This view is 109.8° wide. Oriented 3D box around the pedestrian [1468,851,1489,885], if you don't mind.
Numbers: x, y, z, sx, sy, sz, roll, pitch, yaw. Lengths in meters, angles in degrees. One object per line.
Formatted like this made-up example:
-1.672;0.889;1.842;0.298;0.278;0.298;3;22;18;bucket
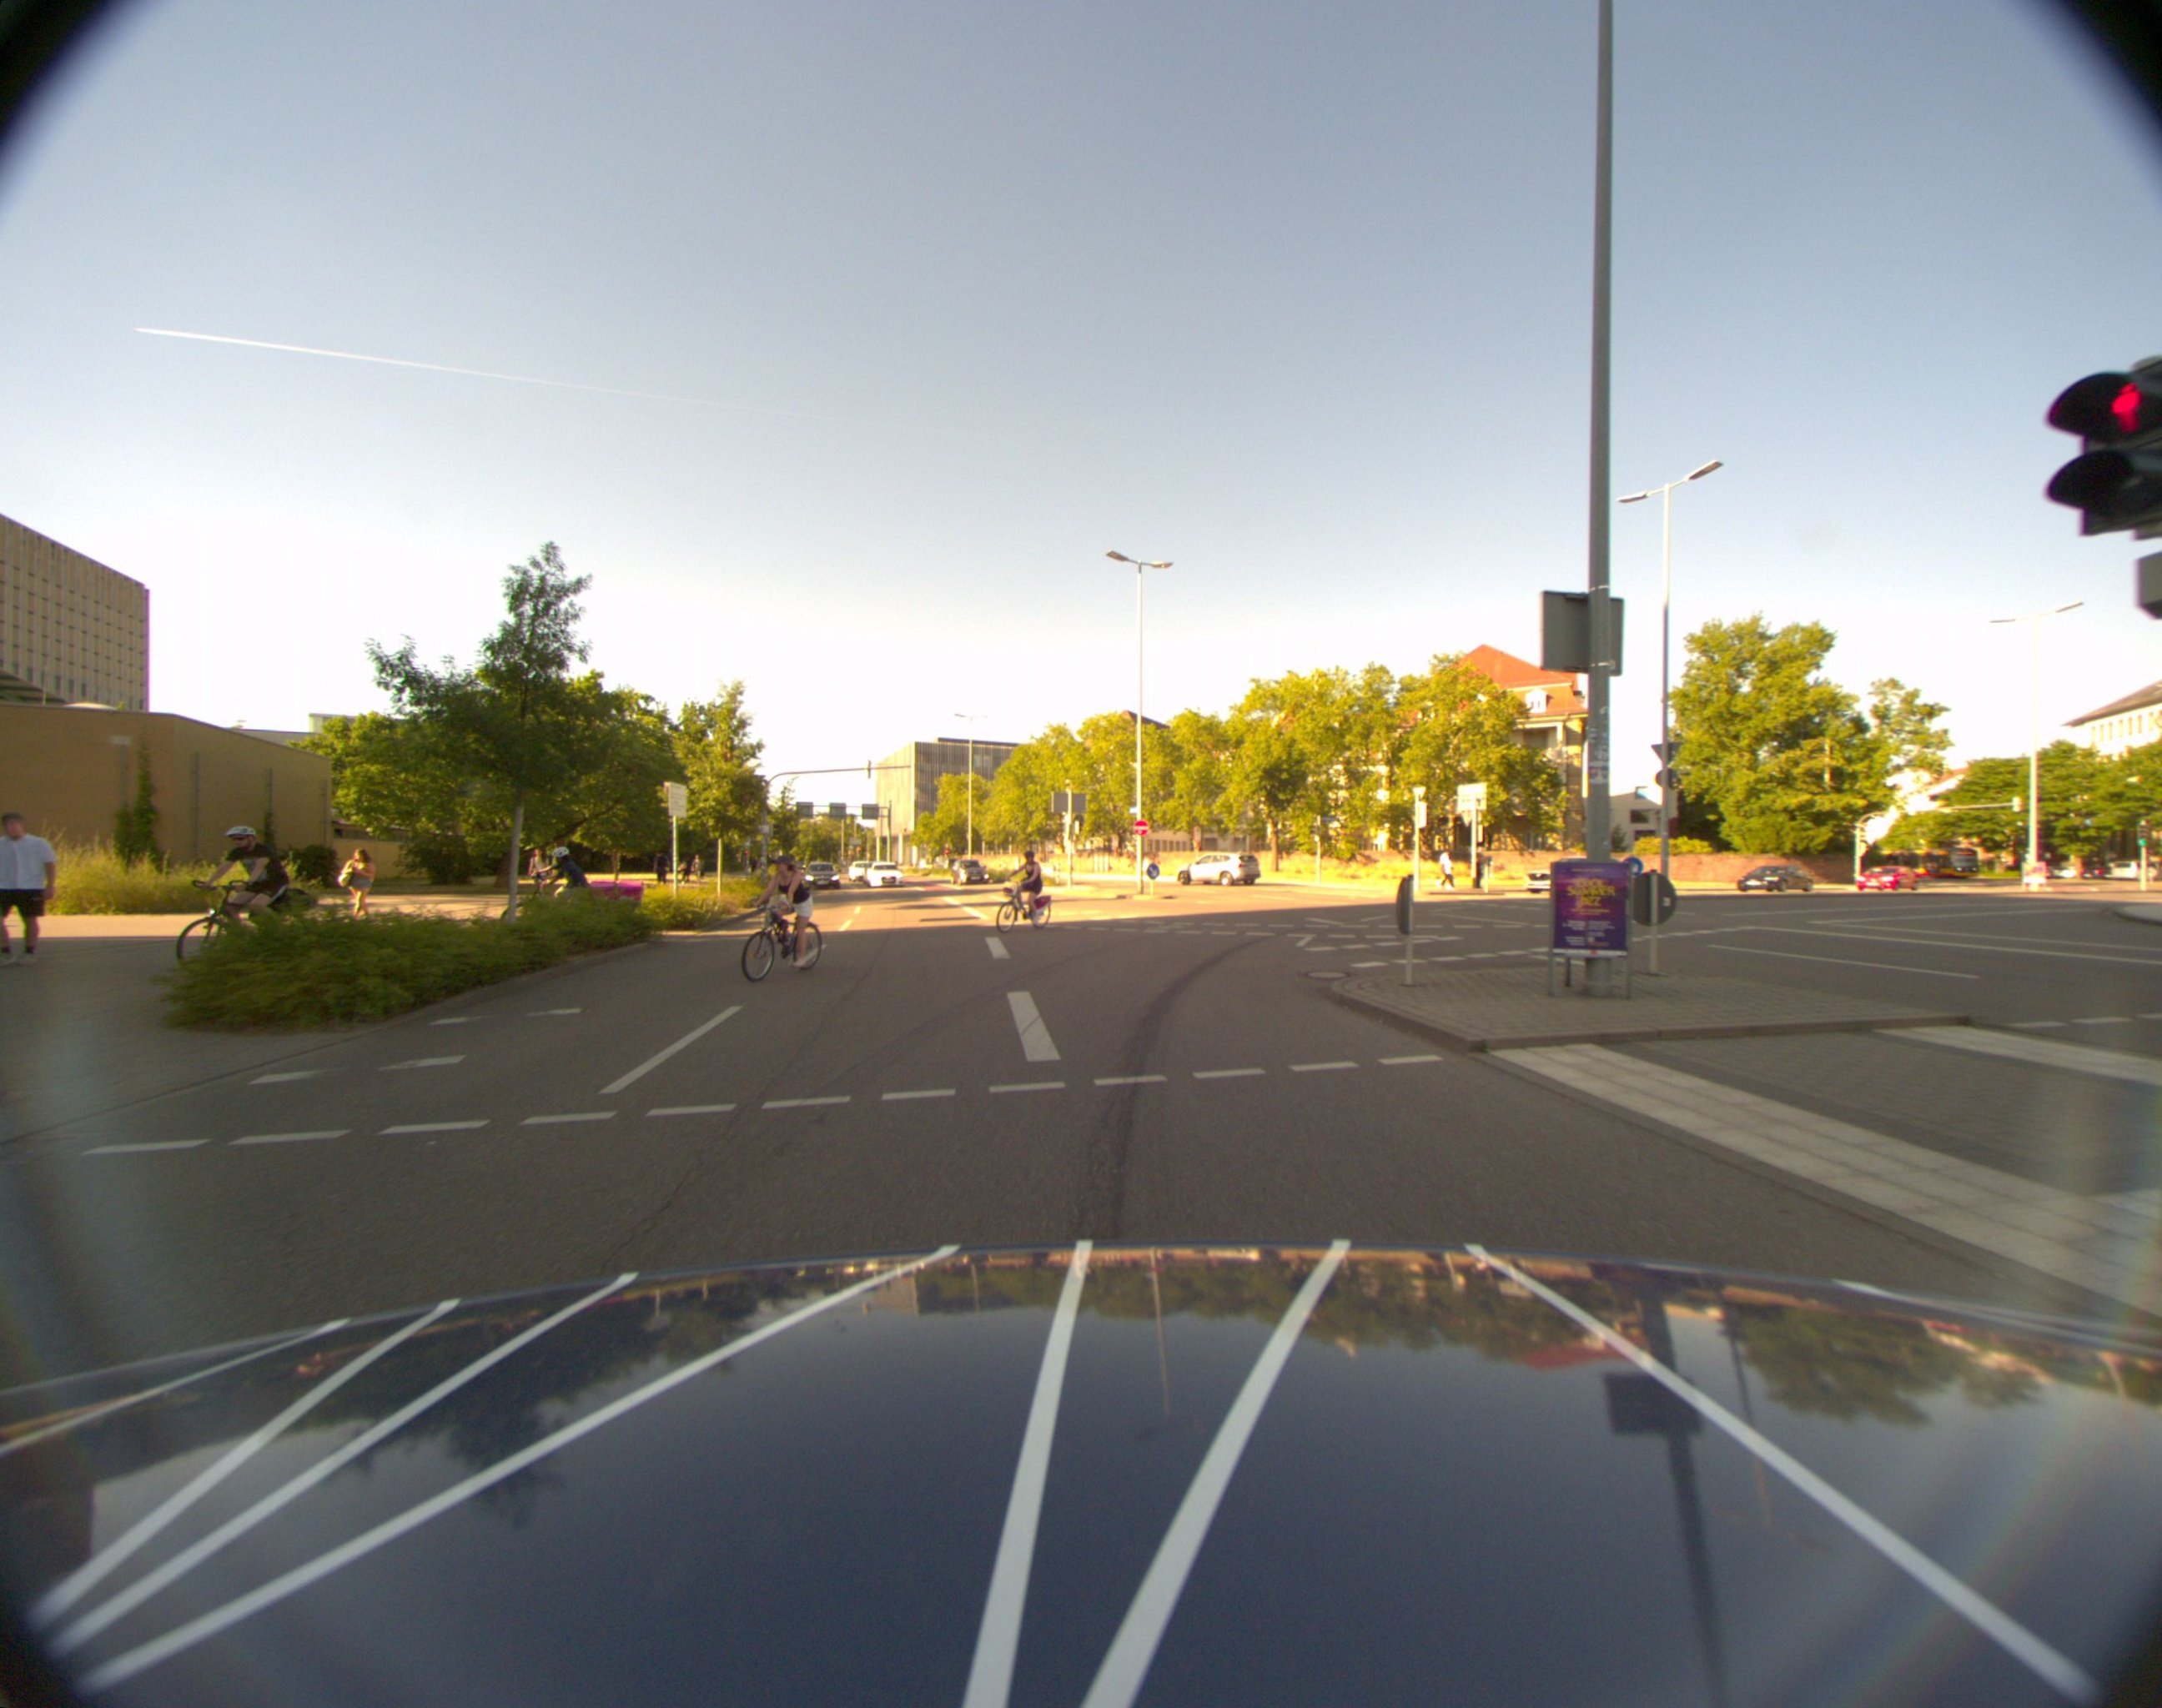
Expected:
19.559;0.682;37.380;0.791;1.644;0.713;2;4;21;pedestrian

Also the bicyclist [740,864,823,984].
-4.014;0.922;10.225;0.716;1.539;0.850;-1;-1;6;bicyclist

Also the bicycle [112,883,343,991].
-10.953;0.998;9.910;0.781;1.149;2.289;0;0;-12;bicycle

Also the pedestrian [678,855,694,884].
-21.824;0.853;41.978;0.764;1.534;0.845;1;0;-27;pedestrian

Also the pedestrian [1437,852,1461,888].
17.620;0.741;36.370;0.871;1.665;0.713;2;4;15;pedestrian

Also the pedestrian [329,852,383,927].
-15.571;0.740;16.332;0.623;1.565;0.638;0;1;-21;pedestrian

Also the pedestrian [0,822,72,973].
-13.406;0.531;9.654;0.575;1.858;0.624;1;1;30;pedestrian

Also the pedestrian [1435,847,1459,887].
17.832;0.645;37.054;0.871;1.884;0.713;2;4;15;pedestrian

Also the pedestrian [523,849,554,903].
-17.428;0.699;24.425;0.677;1.694;0.875;0;0;-26;pedestrian

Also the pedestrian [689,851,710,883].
-20.825;0.725;41.513;1.020;1.739;0.848;1;0;-27;pedestrian

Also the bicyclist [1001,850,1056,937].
-1.106;0.810;16.061;0.715;1.777;0.851;-1;1;38;bicyclist

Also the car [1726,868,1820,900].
36.229;1.554;39.776;4.613;1.576;2.191;0;-2;-28;car

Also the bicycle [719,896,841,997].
-4.005;1.193;10.283;0.718;1.115;1.869;-2;1;6;bicycle

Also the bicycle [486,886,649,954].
-10.000;1.243;14.897;2.586;1.149;0.778;0;0;-35;bicycle

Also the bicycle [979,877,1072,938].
-1.128;1.083;16.026;0.717;1.115;2.070;-1;1;38;bicycle

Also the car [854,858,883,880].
-15.764;1.087;56.196;1.927;1.510;4.011;0;0;-18;car

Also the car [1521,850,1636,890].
21.679;0.695;33.084;4.613;1.673;2.191;0;-2;-28;car

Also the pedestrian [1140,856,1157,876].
5.215;0.897;58.875;0.975;1.527;0.921;0;0;-21;pedestrian

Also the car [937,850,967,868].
-12.803;0.505;75.151;2.002;1.674;4.621;0;0;-22;car

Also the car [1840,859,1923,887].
47.754;1.133;45.321;4.613;1.576;2.191;0;-2;-28;car

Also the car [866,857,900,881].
-13.203;0.980;50.461;1.927;1.510;4.011;0;0;-18;car

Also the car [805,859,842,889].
-13.745;1.031;40.663;1.805;1.510;3.993;0;0;-18;car

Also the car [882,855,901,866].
-27.149;0.871;108.896;2.002;1.586;3.992;0;0;-23;car

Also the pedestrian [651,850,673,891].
-17.544;0.690;31.857;0.713;1.703;0.732;0;0;-21;pedestrian

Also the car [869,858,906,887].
-11.046;1.002;43.193;1.805;1.510;4.424;0;0;-18;car

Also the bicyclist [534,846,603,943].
-10.023;0.756;14.867;1.095;1.823;0.778;0;1;-35;bicyclist

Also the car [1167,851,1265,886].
6.622;0.675;37.629;2.161;1.611;4.350;0;0;-42;car

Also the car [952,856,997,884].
-6.285;0.888;44.422;1.927;1.510;4.011;0;0;-18;car

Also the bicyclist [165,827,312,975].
-10.958;0.577;9.940;0.781;1.820;1.092;0;0;-12;bicyclist
